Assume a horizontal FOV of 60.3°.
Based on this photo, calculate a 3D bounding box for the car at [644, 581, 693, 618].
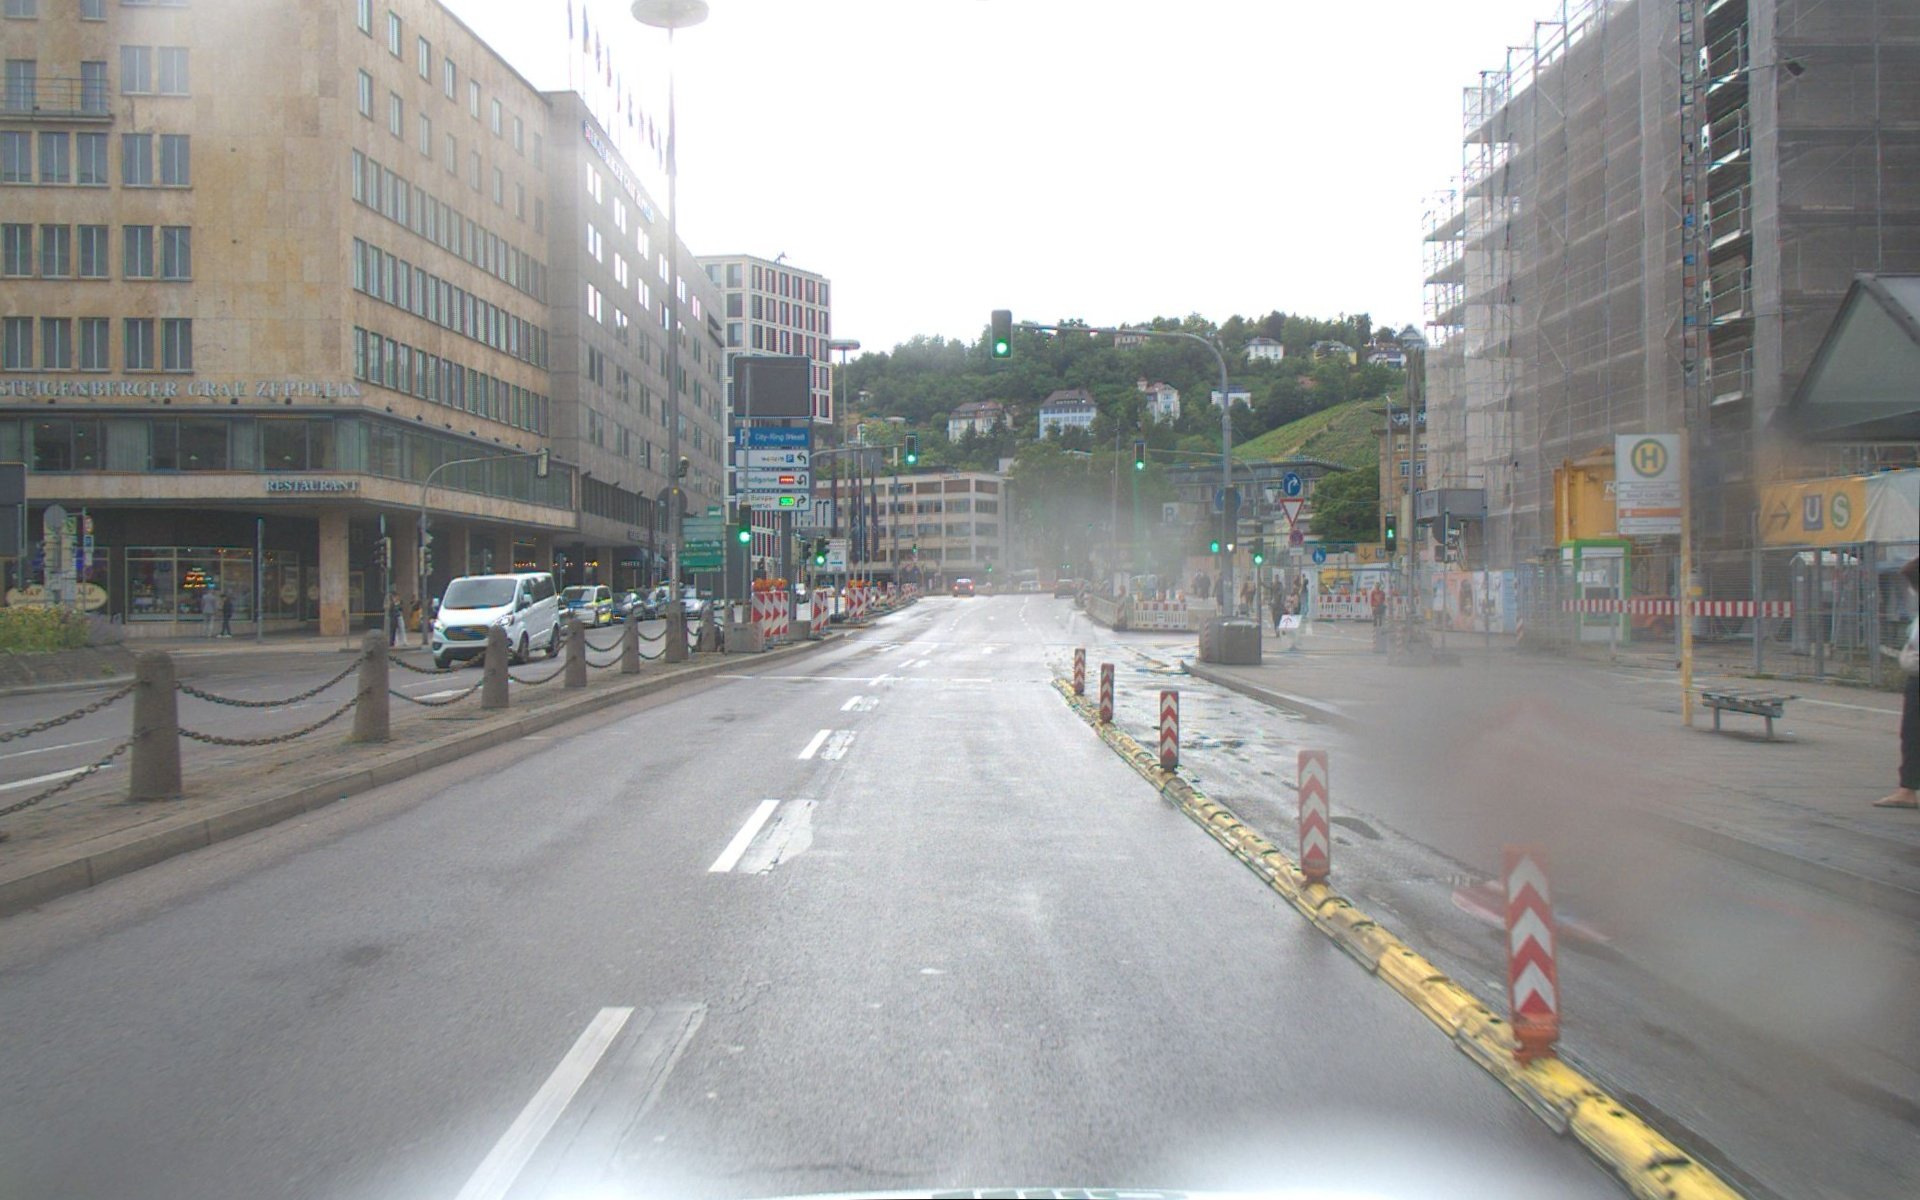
[{"bbox_3d":[-16.651,-0.059,94.642,1.952,2.049,4.165,-1,0,1],"label":"car"}]

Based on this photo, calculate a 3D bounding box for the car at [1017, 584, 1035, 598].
[{"bbox_3d":[7.523,-1.061,189.067,1.782,1.467,4.000,1,1,-1],"label":"car"}]

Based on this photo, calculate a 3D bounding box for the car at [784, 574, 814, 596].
[{"bbox_3d":[-13.203,-1.232,135.700,1.952,1.780,4.001,-1,0,1],"label":"car"}]

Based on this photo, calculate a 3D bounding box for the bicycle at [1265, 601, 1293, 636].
[{"bbox_3d":[10.166,0.576,52.717,0.692,1.068,1.807,0,1,5],"label":"bicycle"}]

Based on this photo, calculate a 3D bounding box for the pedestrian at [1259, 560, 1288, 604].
[{"bbox_3d":[13.657,-0.795,72.149,0.852,1.873,0.943,-1,0,43],"label":"pedestrian"}]

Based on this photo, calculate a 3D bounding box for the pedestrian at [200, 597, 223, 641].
[{"bbox_3d":[-28.443,0.713,62.871,0.684,1.672,0.647,-1,0,-19],"label":"pedestrian"}]

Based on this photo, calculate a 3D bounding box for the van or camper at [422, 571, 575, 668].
[{"bbox_3d":[-10.493,0.405,38.007,1.952,2.049,5.190,-1,0,1],"label":"van or camper"}]

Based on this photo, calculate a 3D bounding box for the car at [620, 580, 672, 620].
[{"bbox_3d":[-16.815,-0.021,88.716,1.952,2.049,4.001,-1,0,1],"label":"car"}]

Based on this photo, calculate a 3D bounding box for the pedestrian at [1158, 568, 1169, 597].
[{"bbox_3d":[13.255,-1.156,107.948,0.673,1.873,0.615,-1,0,5],"label":"pedestrian"}]

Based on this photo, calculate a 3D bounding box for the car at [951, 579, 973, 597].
[{"bbox_3d":[0.165,-1.049,150.588,1.953,1.579,3.999,-1,0,-1],"label":"car"}]

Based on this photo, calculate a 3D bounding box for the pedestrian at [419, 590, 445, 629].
[{"bbox_3d":[-21.662,0.388,67.862,0.706,1.584,1.005,-1,0,2],"label":"pedestrian"}]

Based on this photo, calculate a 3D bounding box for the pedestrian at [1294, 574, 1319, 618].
[{"bbox_3d":[13.717,-0.163,65.541,0.846,1.690,0.797,-1,0,3],"label":"pedestrian"}]

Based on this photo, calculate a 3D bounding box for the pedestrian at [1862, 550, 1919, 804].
[{"bbox_3d":[6.745,0.512,11.331,0.693,1.709,0.716,-1,0,-28],"label":"pedestrian"}]

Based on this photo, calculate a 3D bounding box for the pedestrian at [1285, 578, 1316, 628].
[{"bbox_3d":[11.275,0.098,54.801,0.780,1.636,0.834,-1,0,29],"label":"pedestrian"}]

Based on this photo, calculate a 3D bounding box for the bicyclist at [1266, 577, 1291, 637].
[{"bbox_3d":[10.167,0.215,52.771,0.688,1.877,0.968,0,0,5],"label":"bicyclist"}]

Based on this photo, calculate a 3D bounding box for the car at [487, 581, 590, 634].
[{"bbox_3d":[-13.805,0.225,54.464,1.952,1.645,4.578,-1,0,3],"label":"car"}]

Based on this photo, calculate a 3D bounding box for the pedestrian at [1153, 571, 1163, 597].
[{"bbox_3d":[14.656,-1.179,122.486,0.673,1.873,0.615,-1,0,5],"label":"pedestrian"}]

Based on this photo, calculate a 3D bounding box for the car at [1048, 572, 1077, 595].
[{"bbox_3d":[7.966,-1.251,128.901,1.953,1.735,3.999,-1,0,-1],"label":"car"}]

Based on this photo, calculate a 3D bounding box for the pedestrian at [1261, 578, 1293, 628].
[{"bbox_3d":[10.602,0.093,55.297,0.779,1.636,0.834,-1,0,29],"label":"pedestrian"}]

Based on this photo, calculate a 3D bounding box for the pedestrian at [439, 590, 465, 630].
[{"bbox_3d":[-20.806,0.406,67.734,0.706,1.584,0.905,-1,0,2],"label":"pedestrian"}]

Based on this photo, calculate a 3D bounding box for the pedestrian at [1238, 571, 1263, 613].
[{"bbox_3d":[13.107,-0.369,74.717,0.927,1.873,0.867,-1,0,-3],"label":"pedestrian"}]

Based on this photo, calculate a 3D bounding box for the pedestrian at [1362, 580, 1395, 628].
[{"bbox_3d":[14.301,0.130,56.569,0.754,1.636,0.860,-1,0,-14],"label":"pedestrian"}]

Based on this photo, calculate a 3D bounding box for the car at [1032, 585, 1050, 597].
[{"bbox_3d":[9.953,-1.131,202.543,1.953,1.467,3.999,1,1,-1],"label":"car"}]

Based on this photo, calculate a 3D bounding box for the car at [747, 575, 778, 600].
[{"bbox_3d":[-16.233,-1.049,136.127,1.952,2.049,4.001,-1,1,1],"label":"car"}]

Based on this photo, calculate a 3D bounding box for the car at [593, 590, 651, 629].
[{"bbox_3d":[-16.855,0.453,82.536,1.952,1.870,4.001,-1,1,1],"label":"car"}]

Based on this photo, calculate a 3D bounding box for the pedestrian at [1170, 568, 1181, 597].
[{"bbox_3d":[14.054,-1.112,107.883,0.673,1.873,0.615,-1,0,5],"label":"pedestrian"}]

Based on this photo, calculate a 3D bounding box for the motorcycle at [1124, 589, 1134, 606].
[{"bbox_3d":[7.283,-0.111,71.149,0.363,0.734,0.922,1,1,3],"label":"motorcycle"}]

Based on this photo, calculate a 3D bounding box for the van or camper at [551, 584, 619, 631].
[{"bbox_3d":[-17.173,0.332,75.946,1.953,2.049,4.965,-1,0,0],"label":"van or camper"}]

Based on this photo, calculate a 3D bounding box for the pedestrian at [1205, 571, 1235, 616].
[{"bbox_3d":[10.975,-0.262,69.776,0.929,1.873,0.945,-1,0,31],"label":"pedestrian"}]

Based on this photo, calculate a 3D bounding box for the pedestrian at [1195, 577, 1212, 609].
[{"bbox_3d":[14.516,-0.417,98.607,0.926,1.873,0.868,-1,0,7],"label":"pedestrian"}]

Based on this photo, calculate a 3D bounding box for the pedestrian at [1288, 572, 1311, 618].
[{"bbox_3d":[13.975,-0.204,68.072,0.846,1.873,0.798,-1,0,10],"label":"pedestrian"}]

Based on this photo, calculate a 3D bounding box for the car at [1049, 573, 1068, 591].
[{"bbox_3d":[9.803,-1.777,164.329,1.739,1.668,4.001,-2,-1,2],"label":"car"}]

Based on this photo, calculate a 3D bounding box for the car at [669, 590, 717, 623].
[{"bbox_3d":[-13.645,0.315,84.713,1.732,1.637,4.227,-1,0,1],"label":"car"}]
